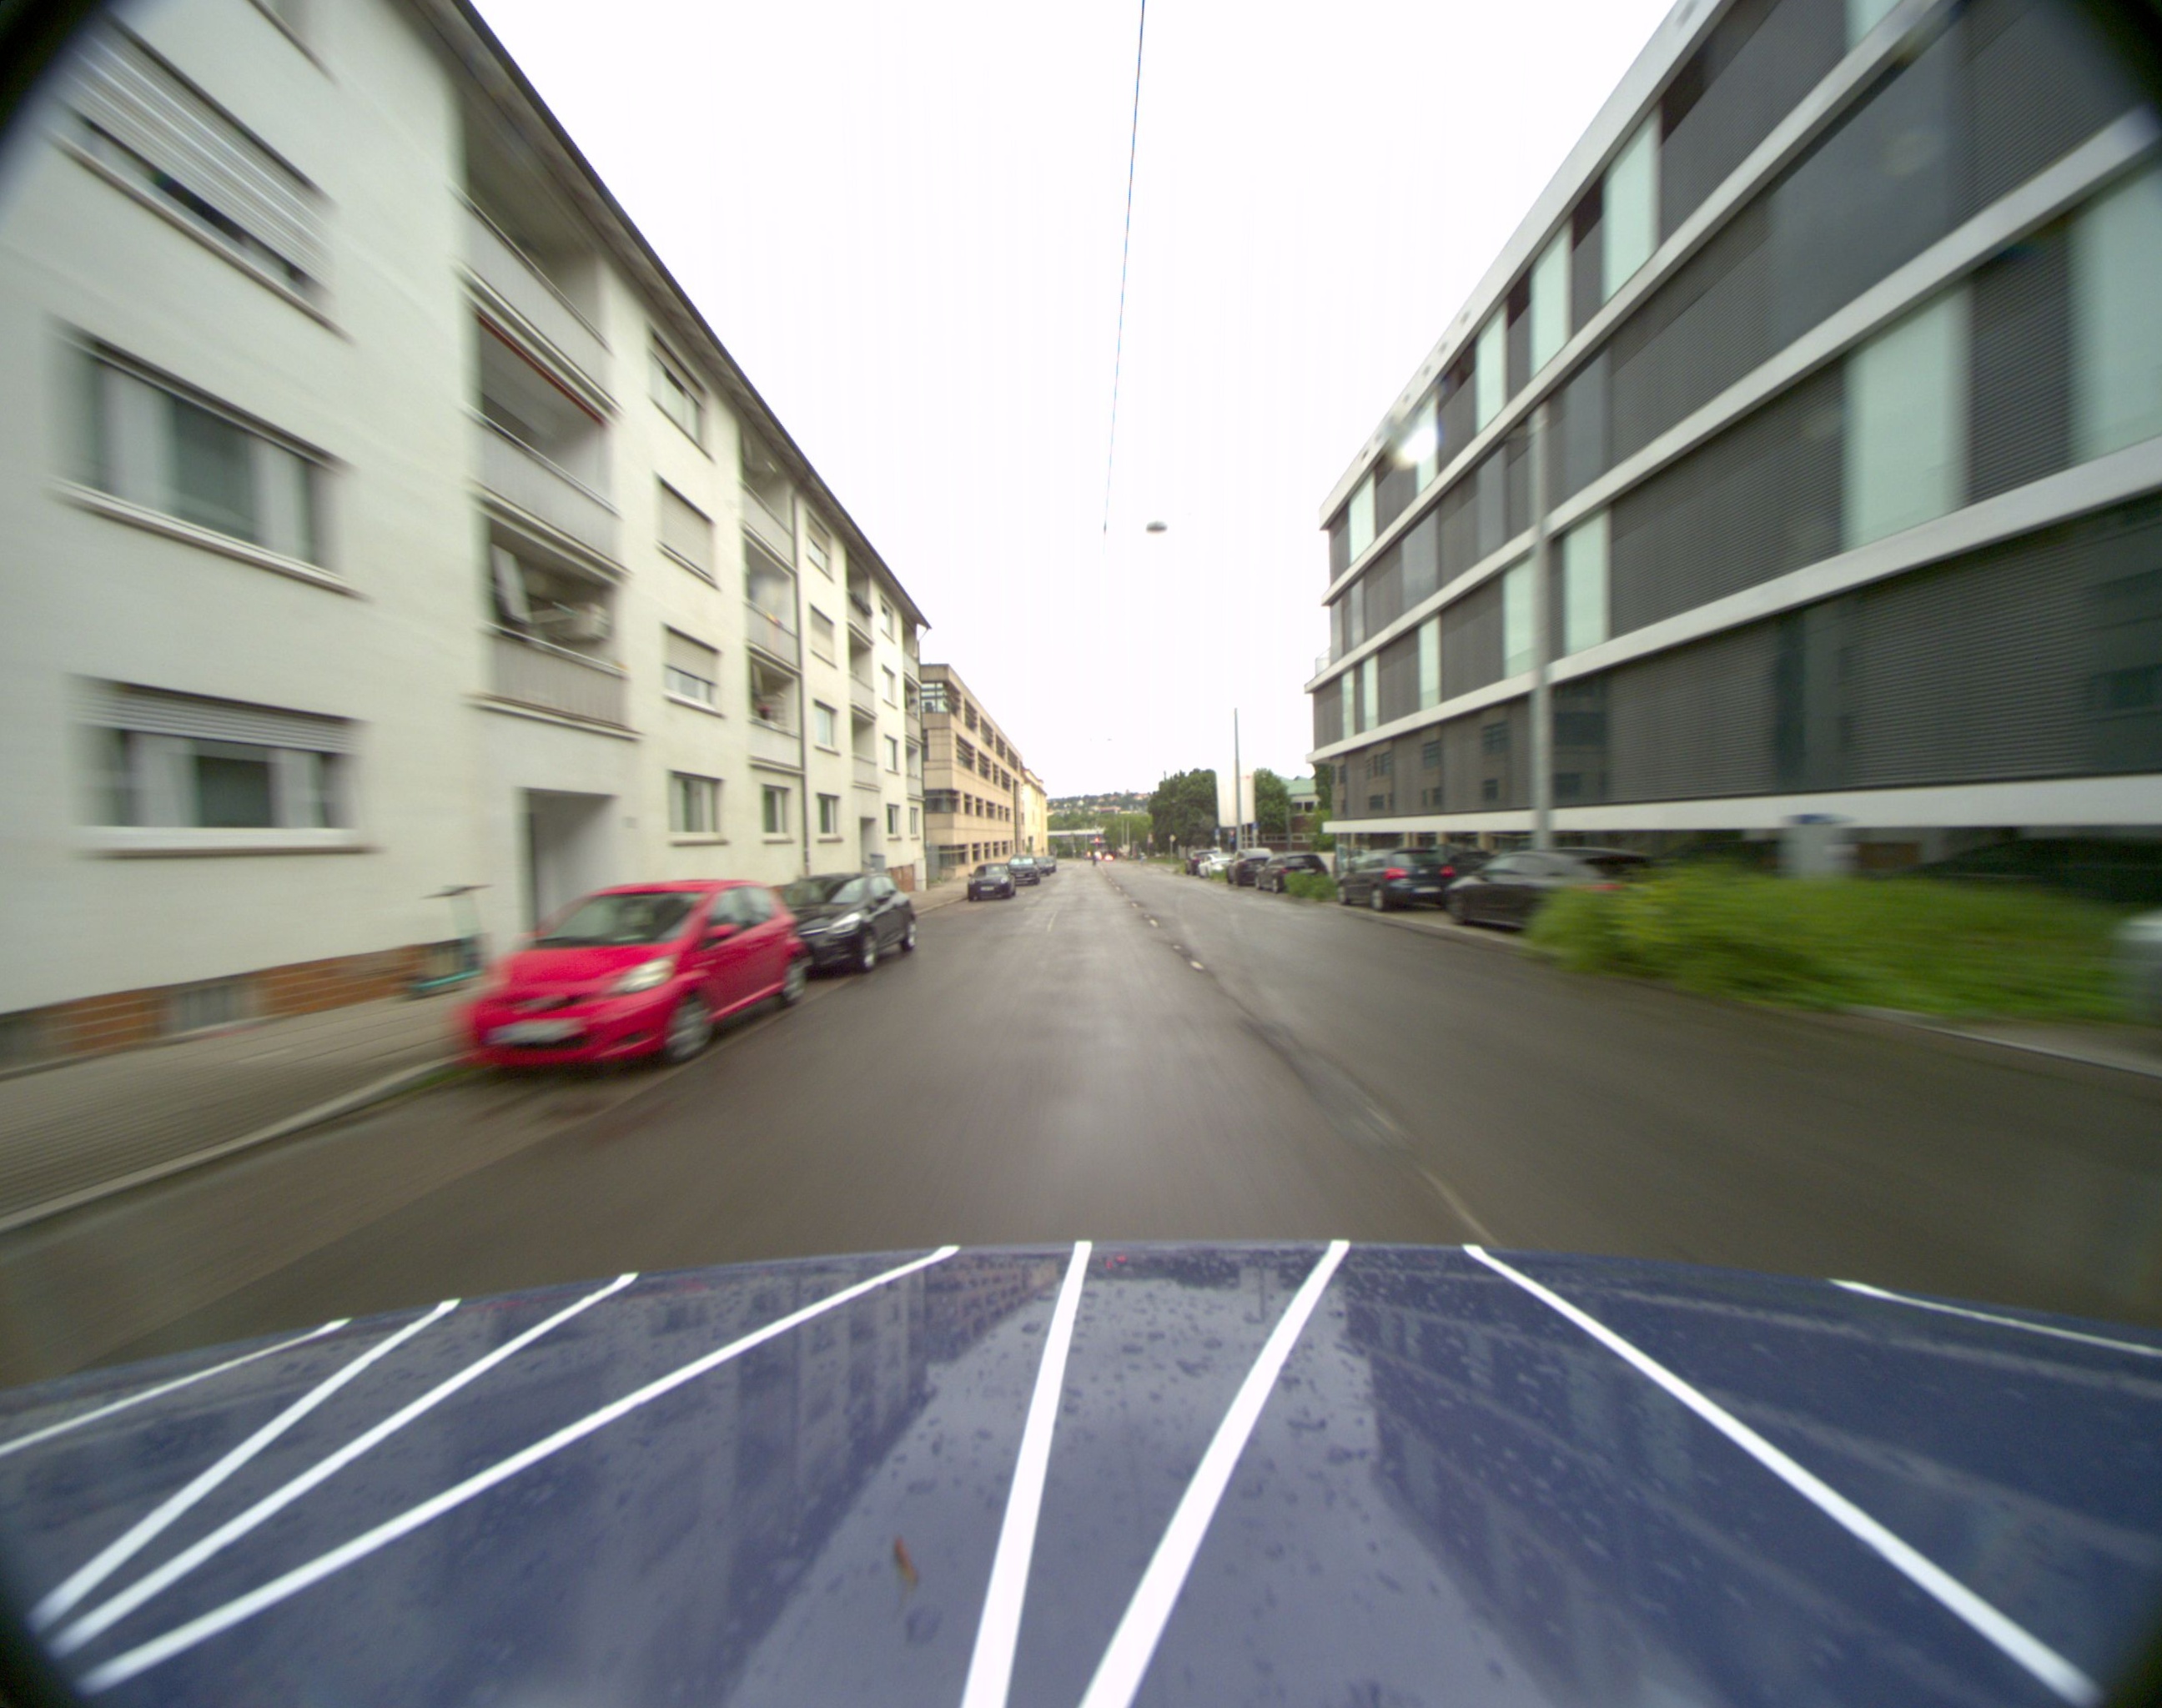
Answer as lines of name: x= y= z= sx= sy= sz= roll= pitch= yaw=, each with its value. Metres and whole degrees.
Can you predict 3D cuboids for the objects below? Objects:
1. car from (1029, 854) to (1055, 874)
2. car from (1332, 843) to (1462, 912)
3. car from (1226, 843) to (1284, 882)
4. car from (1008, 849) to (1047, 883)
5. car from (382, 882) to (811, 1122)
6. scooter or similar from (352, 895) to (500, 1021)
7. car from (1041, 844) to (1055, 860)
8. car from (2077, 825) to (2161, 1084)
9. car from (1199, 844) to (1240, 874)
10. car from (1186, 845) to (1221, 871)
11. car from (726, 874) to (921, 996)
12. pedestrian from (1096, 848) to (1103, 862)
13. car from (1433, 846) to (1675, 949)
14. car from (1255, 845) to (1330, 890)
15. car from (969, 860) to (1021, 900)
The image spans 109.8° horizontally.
car: x=-3.176 y=0.764 z=62.917 sx=1.798 sy=1.501 sz=4.000 roll=-3 pitch=1 yaw=1
car: x=7.691 y=0.494 z=18.900 sx=1.565 sy=1.463 sz=4.041 roll=-3 pitch=1 yaw=1
car: x=7.676 y=0.333 z=33.905 sx=1.642 sy=1.576 sz=4.041 roll=-3 pitch=1 yaw=1
car: x=-3.189 y=0.689 z=46.230 sx=1.911 sy=1.865 sz=4.749 roll=-3 pitch=1 yaw=1
car: x=-3.984 y=1.098 z=7.019 sx=1.630 sy=1.448 sz=3.483 roll=-3 pitch=1 yaw=1
scooter or similar: x=-7.336 y=1.122 z=8.580 sx=0.444 sy=1.224 sz=1.320 roll=-2 pitch=1 yaw=1
car: x=-5.281 y=-0.398 z=123.524 sx=1.891 sy=2.447 sz=4.513 roll=-3 pitch=1 yaw=1
car: x=7.525 y=0.597 z=2.854 sx=1.835 sy=1.580 sz=4.362 roll=-4 pitch=1 yaw=1
car: x=7.948 y=0.243 z=43.820 sx=1.642 sy=1.576 sz=4.041 roll=-3 pitch=1 yaw=1
car: x=8.082 y=0.220 z=50.325 sx=1.642 sy=1.576 sz=4.041 roll=-3 pitch=1 yaw=1
car: x=-3.768 y=1.108 z=11.846 sx=1.630 sy=1.403 sz=3.777 roll=-3 pitch=1 yaw=1
pedestrian: x=2.350 y=0.141 z=95.710 sx=0.651 sy=1.652 sz=0.649 roll=-2 pitch=1 yaw=-24
car: x=7.650 y=0.593 z=12.794 sx=1.565 sy=1.385 sz=4.041 roll=-3 pitch=1 yaw=1
car: x=7.698 y=0.448 z=28.004 sx=1.642 sy=1.463 sz=4.041 roll=-3 pitch=1 yaw=1
car: x=-3.516 y=1.036 z=31.689 sx=1.630 sy=1.403 sz=3.777 roll=-3 pitch=1 yaw=1
